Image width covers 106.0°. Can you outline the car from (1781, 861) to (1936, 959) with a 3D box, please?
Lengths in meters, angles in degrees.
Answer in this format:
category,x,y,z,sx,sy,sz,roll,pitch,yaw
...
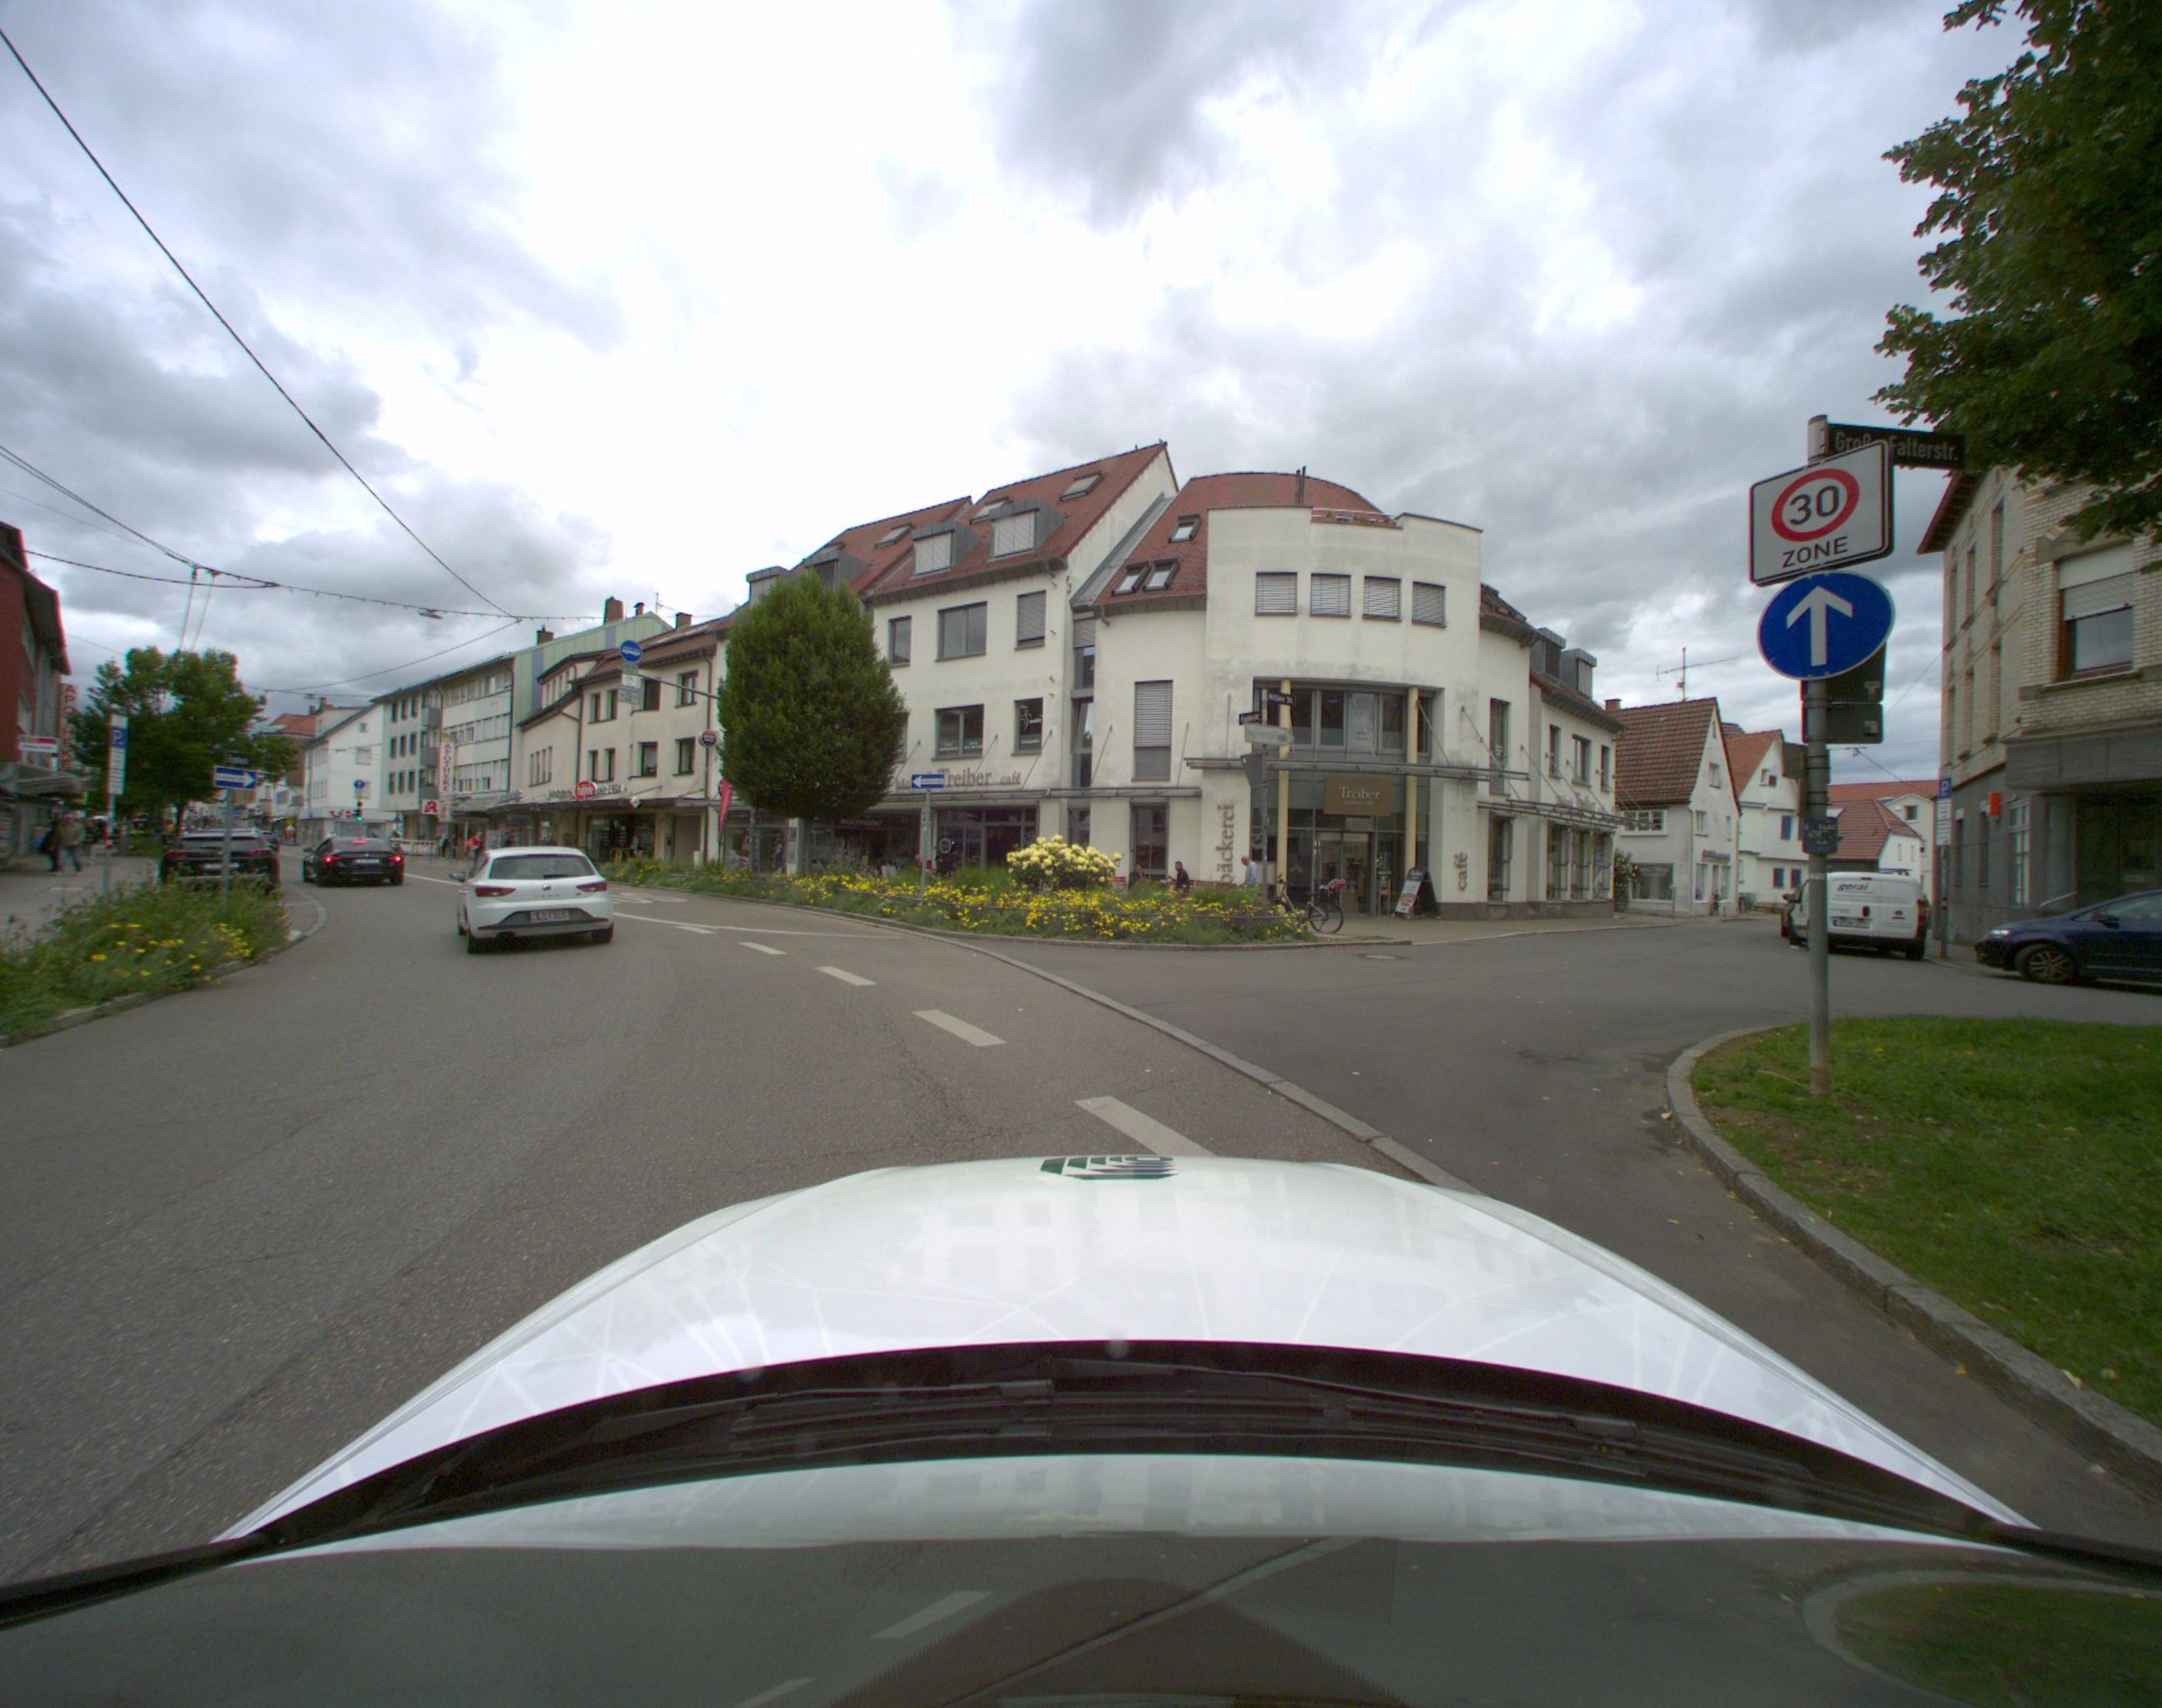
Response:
category,x,y,z,sx,sy,sz,roll,pitch,yaw
car,16.761,1.128,17.779,1.808,1.792,4.245,2,0,36

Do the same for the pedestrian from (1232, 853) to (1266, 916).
category,x,y,z,sx,sy,sz,roll,pitch,yaw
pedestrian,4.207,0.734,20.337,0.695,1.525,0.871,1,0,19

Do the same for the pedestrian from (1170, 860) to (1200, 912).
category,x,y,z,sx,sy,sz,roll,pitch,yaw
pedestrian,2.763,0.843,21.605,0.649,1.341,0.699,1,0,19

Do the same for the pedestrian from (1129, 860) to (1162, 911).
category,x,y,z,sx,sy,sz,roll,pitch,yaw
pedestrian,1.748,0.829,22.052,0.695,1.332,0.688,1,0,19

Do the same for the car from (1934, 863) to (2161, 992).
category,x,y,z,sx,sy,sz,roll,pitch,yaw
car,15.549,1.080,11.805,1.865,1.704,3.990,4,-1,-24

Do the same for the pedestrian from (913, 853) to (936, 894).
category,x,y,z,sx,sy,sz,roll,pitch,yaw
pedestrian,-5.002,0.615,26.051,0.485,1.271,0.505,1,0,32

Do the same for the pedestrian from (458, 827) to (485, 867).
category,x,y,z,sx,sy,sz,roll,pitch,yaw
pedestrian,-31.222,-0.358,41.751,1.034,2.013,0.886,1,0,-34

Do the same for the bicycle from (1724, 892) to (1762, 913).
category,x,y,z,sx,sy,sz,roll,pitch,yaw
bicycle,35.151,2.569,43.219,2.091,1.038,0.441,2,3,-18

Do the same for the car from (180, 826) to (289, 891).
category,x,y,z,sx,sy,sz,roll,pitch,yaw
car,-24.723,0.102,23.740,4.371,1.732,2.012,1,0,41

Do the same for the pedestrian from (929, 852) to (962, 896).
category,x,y,z,sx,sy,sz,roll,pitch,yaw
pedestrian,-4.207,0.625,25.336,0.561,1.318,0.769,1,-2,32

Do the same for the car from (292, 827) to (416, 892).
category,x,y,z,sx,sy,sz,roll,pitch,yaw
car,-21.777,0.113,24.351,4.318,1.675,2.054,3,1,39

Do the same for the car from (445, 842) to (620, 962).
category,x,y,z,sx,sy,sz,roll,pitch,yaw
car,-8.588,0.599,12.604,1.859,1.434,3.954,0,2,-40

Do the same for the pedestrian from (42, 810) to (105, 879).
category,x,y,z,sx,sy,sz,roll,pitch,yaw
pedestrian,-30.414,-0.285,24.597,1.001,2.013,1.113,2,1,42

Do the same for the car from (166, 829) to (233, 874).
category,x,y,z,sx,sy,sz,roll,pitch,yaw
car,-33.488,-0.118,30.920,3.949,1.622,1.586,1,0,41

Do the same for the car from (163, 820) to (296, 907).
category,x,y,z,sx,sy,sz,roll,pitch,yaw
car,-20.280,0.180,19.437,3.950,1.854,2.012,1,0,43

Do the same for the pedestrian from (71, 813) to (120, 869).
category,x,y,z,sx,sy,sz,roll,pitch,yaw
pedestrian,-36.478,-0.480,30.147,1.001,2.013,1.113,2,1,38

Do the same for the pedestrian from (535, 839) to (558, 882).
category,x,y,z,sx,sy,sz,roll,pitch,yaw
pedestrian,-24.855,0.299,37.855,0.627,2.013,0.674,1,0,36

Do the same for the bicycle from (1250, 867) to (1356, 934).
category,x,y,z,sx,sy,sz,roll,pitch,yaw
bicycle,4.619,0.937,17.004,1.955,1.240,0.749,2,0,31
